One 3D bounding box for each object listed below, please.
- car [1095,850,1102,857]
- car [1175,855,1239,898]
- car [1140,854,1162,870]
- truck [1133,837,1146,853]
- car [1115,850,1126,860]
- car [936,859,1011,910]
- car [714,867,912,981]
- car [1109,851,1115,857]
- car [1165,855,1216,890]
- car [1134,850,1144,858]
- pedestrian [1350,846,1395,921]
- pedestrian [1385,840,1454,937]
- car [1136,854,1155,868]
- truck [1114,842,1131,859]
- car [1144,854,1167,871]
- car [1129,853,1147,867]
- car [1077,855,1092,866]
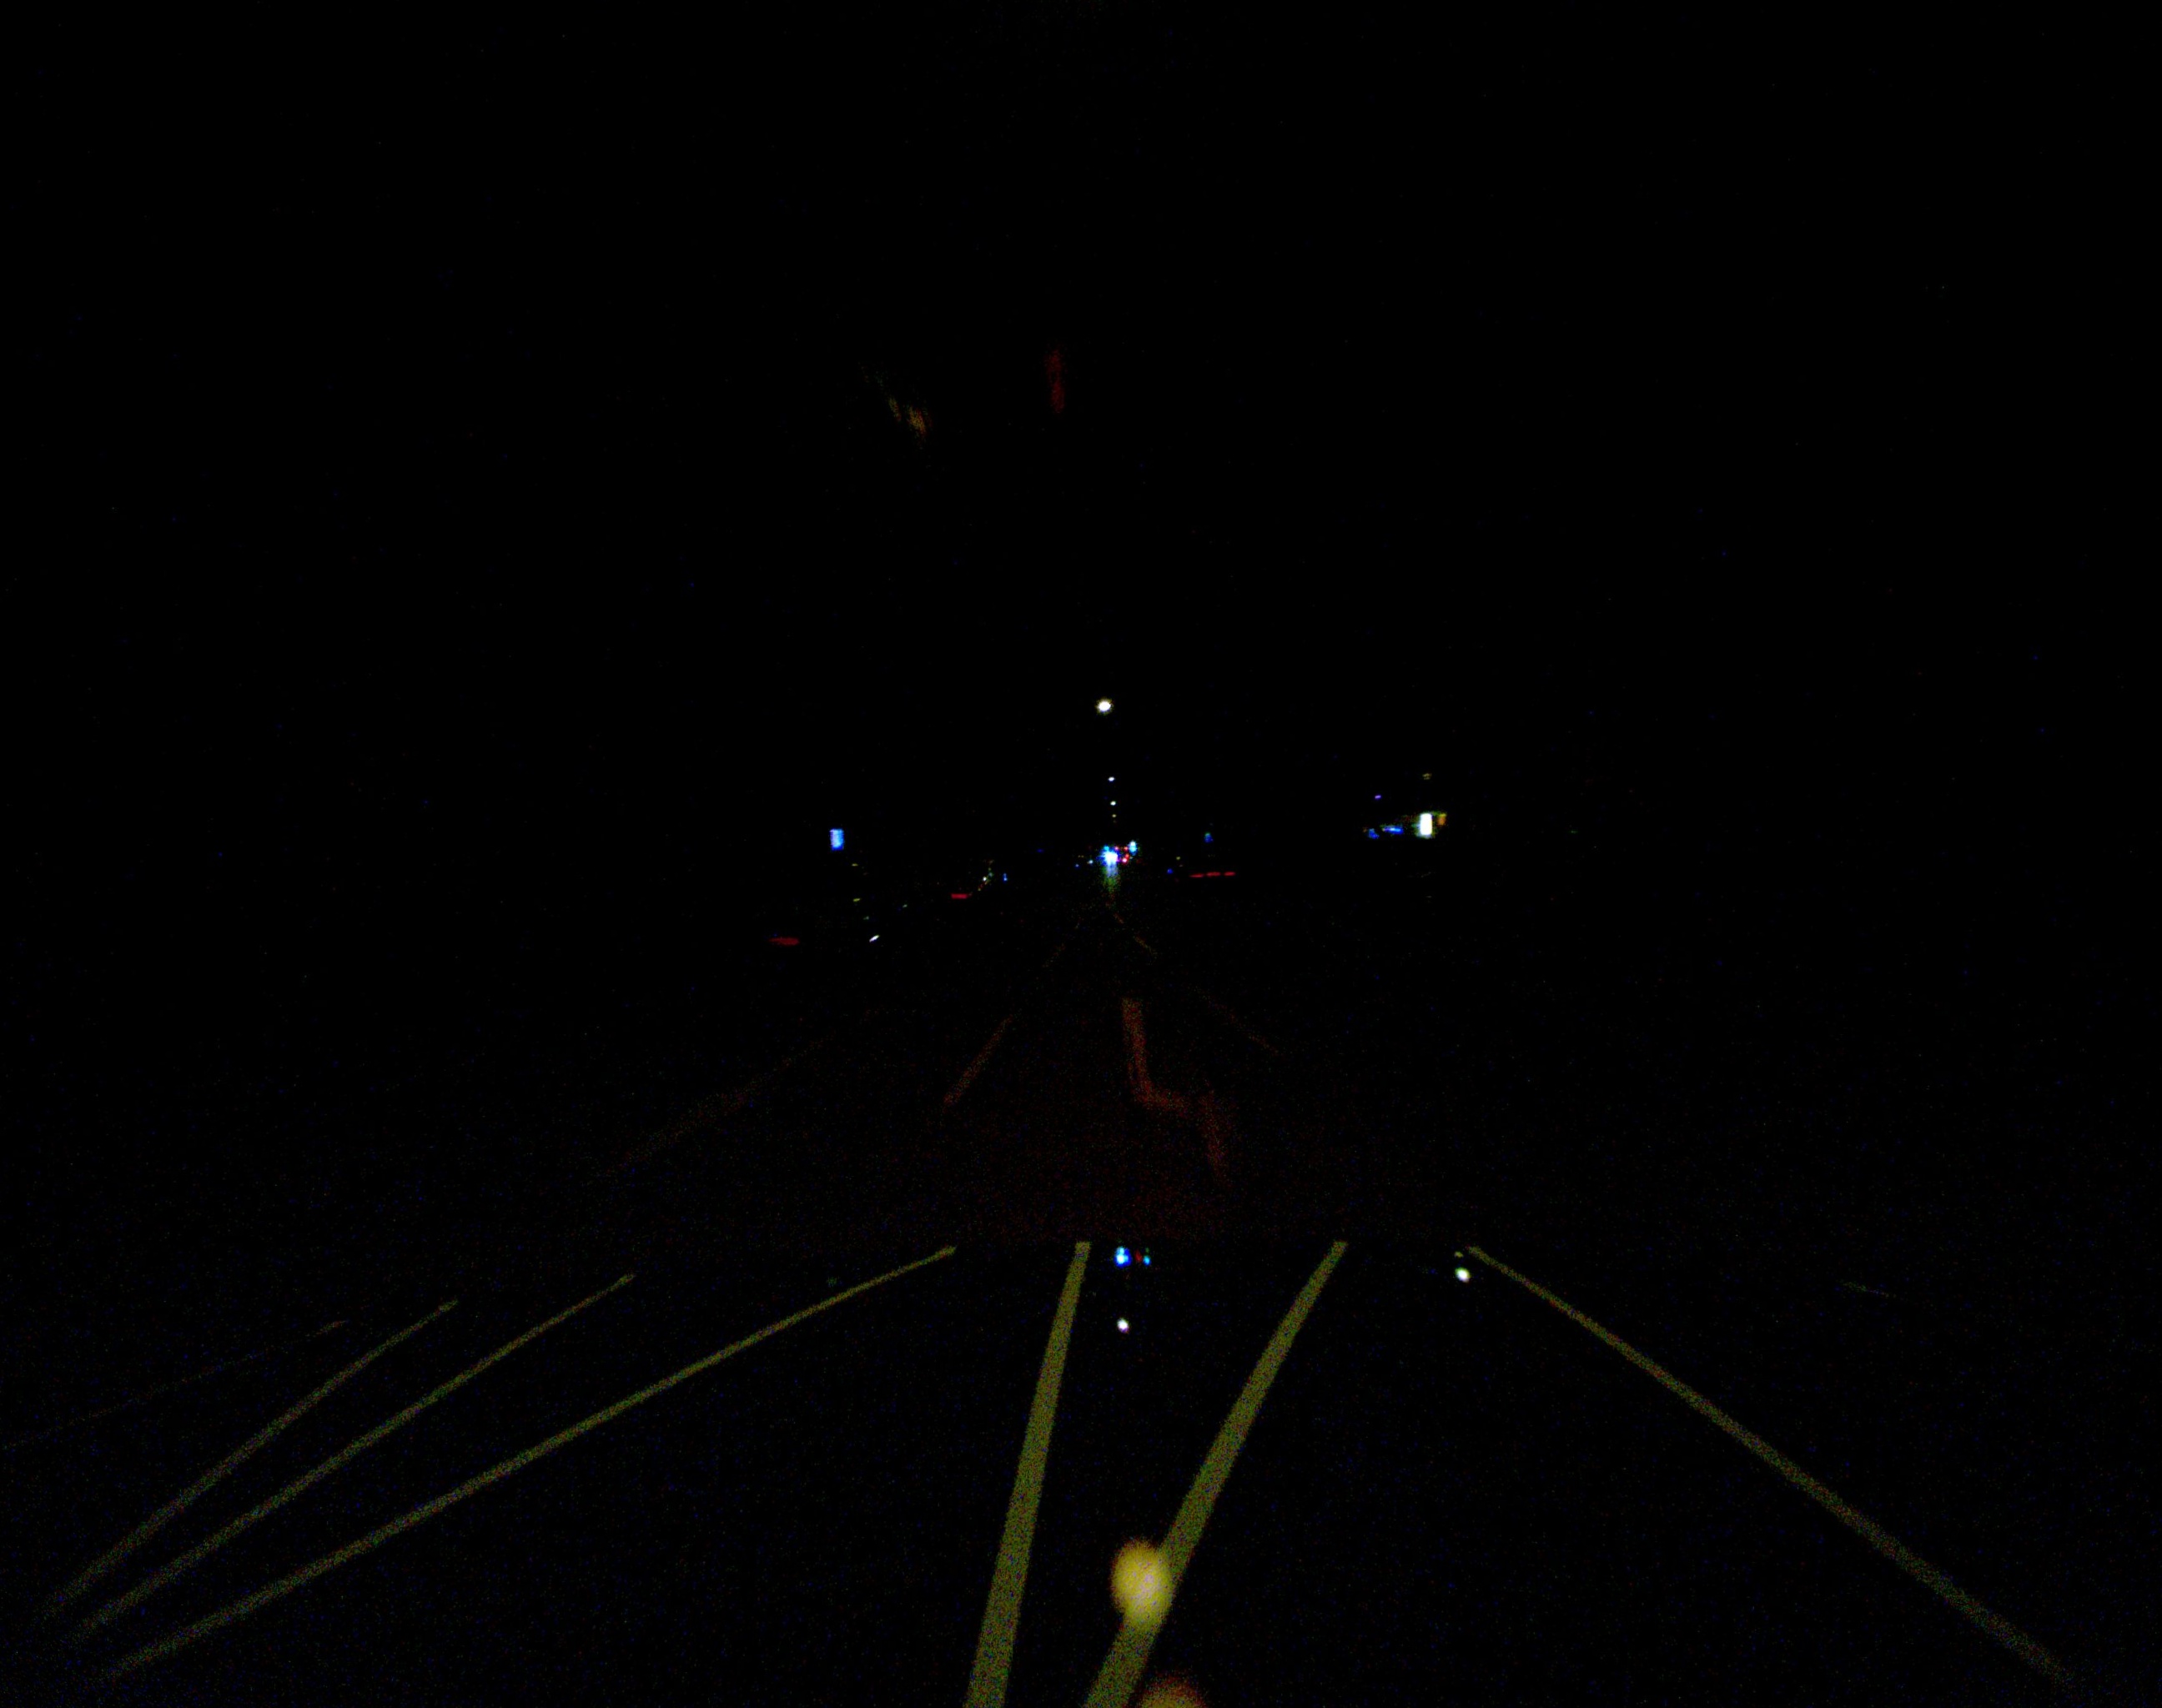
[{"bbox_3d":[4.556,-0.066,197.137,1.792,1.829,3.846,-2,0,1],"label":"car"},{"bbox_3d":[5.019,0.846,30.819,1.864,1.523,4.588,-4,0,1],"label":"car"},{"bbox_3d":[7.626,0.860,83.122,1.874,1.635,4.000,-2,0,-1],"label":"car"},{"bbox_3d":[10.164,-1.560,133.406,2.084,2.562,6.875,-2,0,3],"label":"truck"},{"bbox_3d":[7.117,0.172,137.998,1.873,1.635,4.001,-2,0,3],"label":"car"},{"bbox_3d":[-3.604,0.981,26.254,1.742,1.588,4.360,0,0,3],"label":"car"},{"bbox_3d":[-4.259,1.036,12.831,1.864,1.544,4.045,0,0,1],"label":"car"},{"bbox_3d":[9.046,-0.123,221.055,1.775,1.672,3.815,-2,0,3],"label":"car"},{"bbox_3d":[5.152,0.819,36.082,1.864,1.458,3.897,-4,0,1],"label":"car"},{"bbox_3d":[11.904,-0.018,156.565,1.873,1.551,4.354,-2,0,3],"label":"car"},{"bbox_3d":[6.832,0.674,17.851,0.670,1.716,0.867,-2,0,0],"label":"pedestrian"},{"bbox_3d":[6.113,0.601,13.771,0.744,1.662,1.103,-2,1,2],"label":"pedestrian"},{"bbox_3d":[7.553,0.805,89.444,1.874,1.635,4.000,-2,0,-1],"label":"car"},{"bbox_3d":[8.671,-0.791,158.970,3.222,3.359,8.852,-2,0,3],"label":"truck"},{"bbox_3d":[7.674,0.899,78.677,1.874,1.635,4.000,-2,0,-1],"label":"car"},{"bbox_3d":[7.304,0.755,97.765,1.874,1.635,4.000,-2,0,-1],"label":"car"},{"bbox_3d":[0.493,0.867,106.008,1.873,1.407,4.000,-2,0,2],"label":"car"}]
